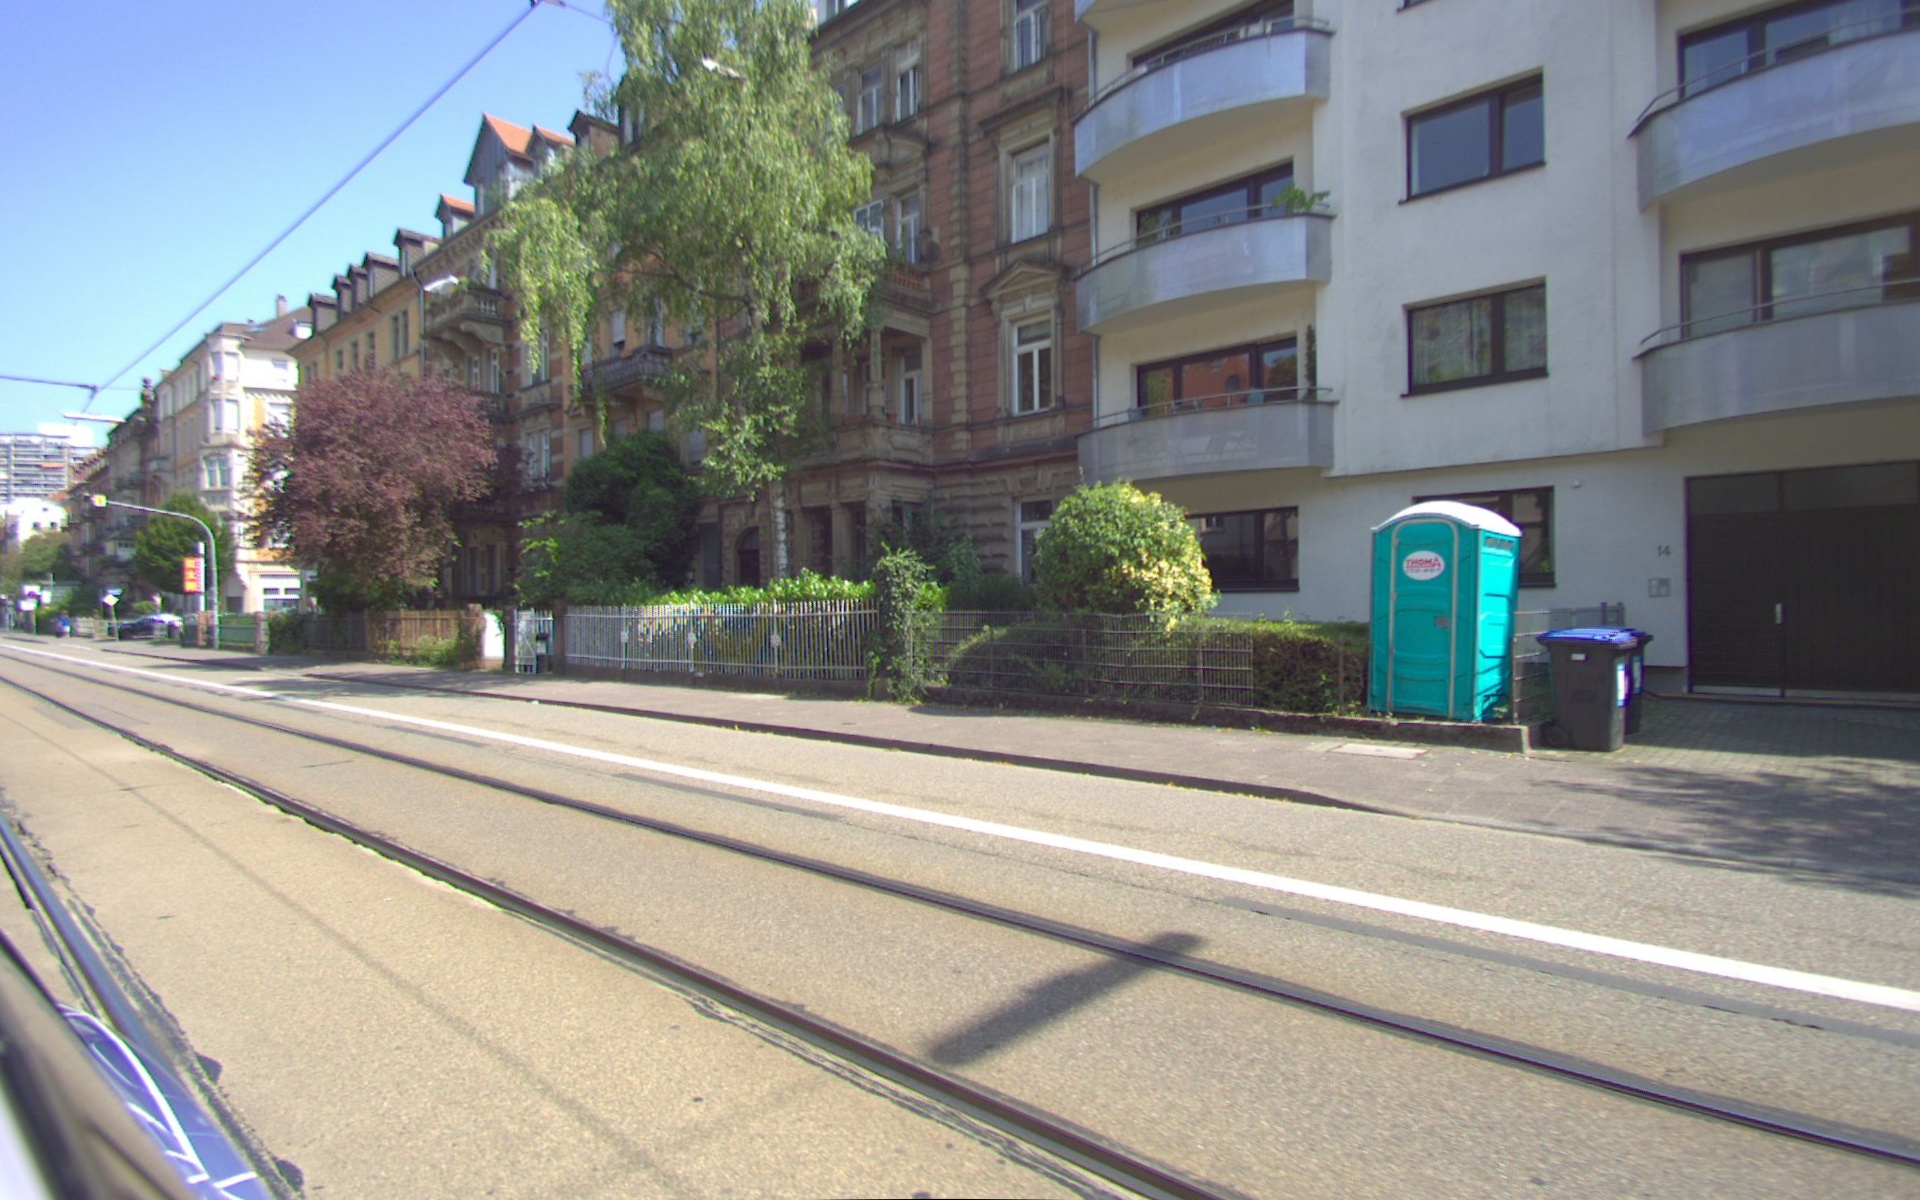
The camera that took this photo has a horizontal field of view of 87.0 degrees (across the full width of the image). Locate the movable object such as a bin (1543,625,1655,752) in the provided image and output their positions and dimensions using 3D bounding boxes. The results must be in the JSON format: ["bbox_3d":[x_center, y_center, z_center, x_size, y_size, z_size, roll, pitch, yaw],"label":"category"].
[{"bbox_3d":[5.926,0.789,9.386,0.754,1.084,0.778,-2,0,41],"label":"movable object such as a bin"}]

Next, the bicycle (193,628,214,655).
[{"bbox_3d":[-32.336,1.766,43.252,1.567,1.107,0.386,-2,-1,41],"label":"bicycle"}]

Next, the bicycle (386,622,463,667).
[{"bbox_3d":[-15.267,1.256,28.894,0.717,1.191,1.792,-2,0,44],"label":"bicycle"}]

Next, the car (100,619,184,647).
[{"bbox_3d":[-53.733,2.153,66.520,1.879,1.606,4.056,-2,0,44],"label":"car"}]

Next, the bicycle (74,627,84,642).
[{"bbox_3d":[-62.700,2.452,71.995,1.833,1.046,0.386,-2,-2,44],"label":"bicycle"}]

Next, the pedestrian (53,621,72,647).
[{"bbox_3d":[-62.745,2.359,70.744,0.870,1.769,0.874,-2,-2,43],"label":"pedestrian"}]

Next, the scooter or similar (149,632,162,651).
[{"bbox_3d":[-49.523,2.550,62.291,0.588,1.107,1.392,-1,-1,-37],"label":"scooter or similar"}]

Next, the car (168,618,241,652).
[{"bbox_3d":[-38.194,1.756,51.162,4.355,1.606,1.974,-2,-2,39],"label":"car"}]

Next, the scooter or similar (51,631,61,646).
[{"bbox_3d":[-63.249,2.681,70.831,0.583,0.990,0.396,-2,0,35],"label":"scooter or similar"}]

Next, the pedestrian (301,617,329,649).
[{"bbox_3d":[-31.089,1.577,48.747,0.884,1.522,0.860,-2,-1,34],"label":"pedestrian"}]

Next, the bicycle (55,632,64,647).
[{"bbox_3d":[-67.614,2.969,75.980,1.582,1.156,0.386,-2,-2,44],"label":"bicycle"}]
